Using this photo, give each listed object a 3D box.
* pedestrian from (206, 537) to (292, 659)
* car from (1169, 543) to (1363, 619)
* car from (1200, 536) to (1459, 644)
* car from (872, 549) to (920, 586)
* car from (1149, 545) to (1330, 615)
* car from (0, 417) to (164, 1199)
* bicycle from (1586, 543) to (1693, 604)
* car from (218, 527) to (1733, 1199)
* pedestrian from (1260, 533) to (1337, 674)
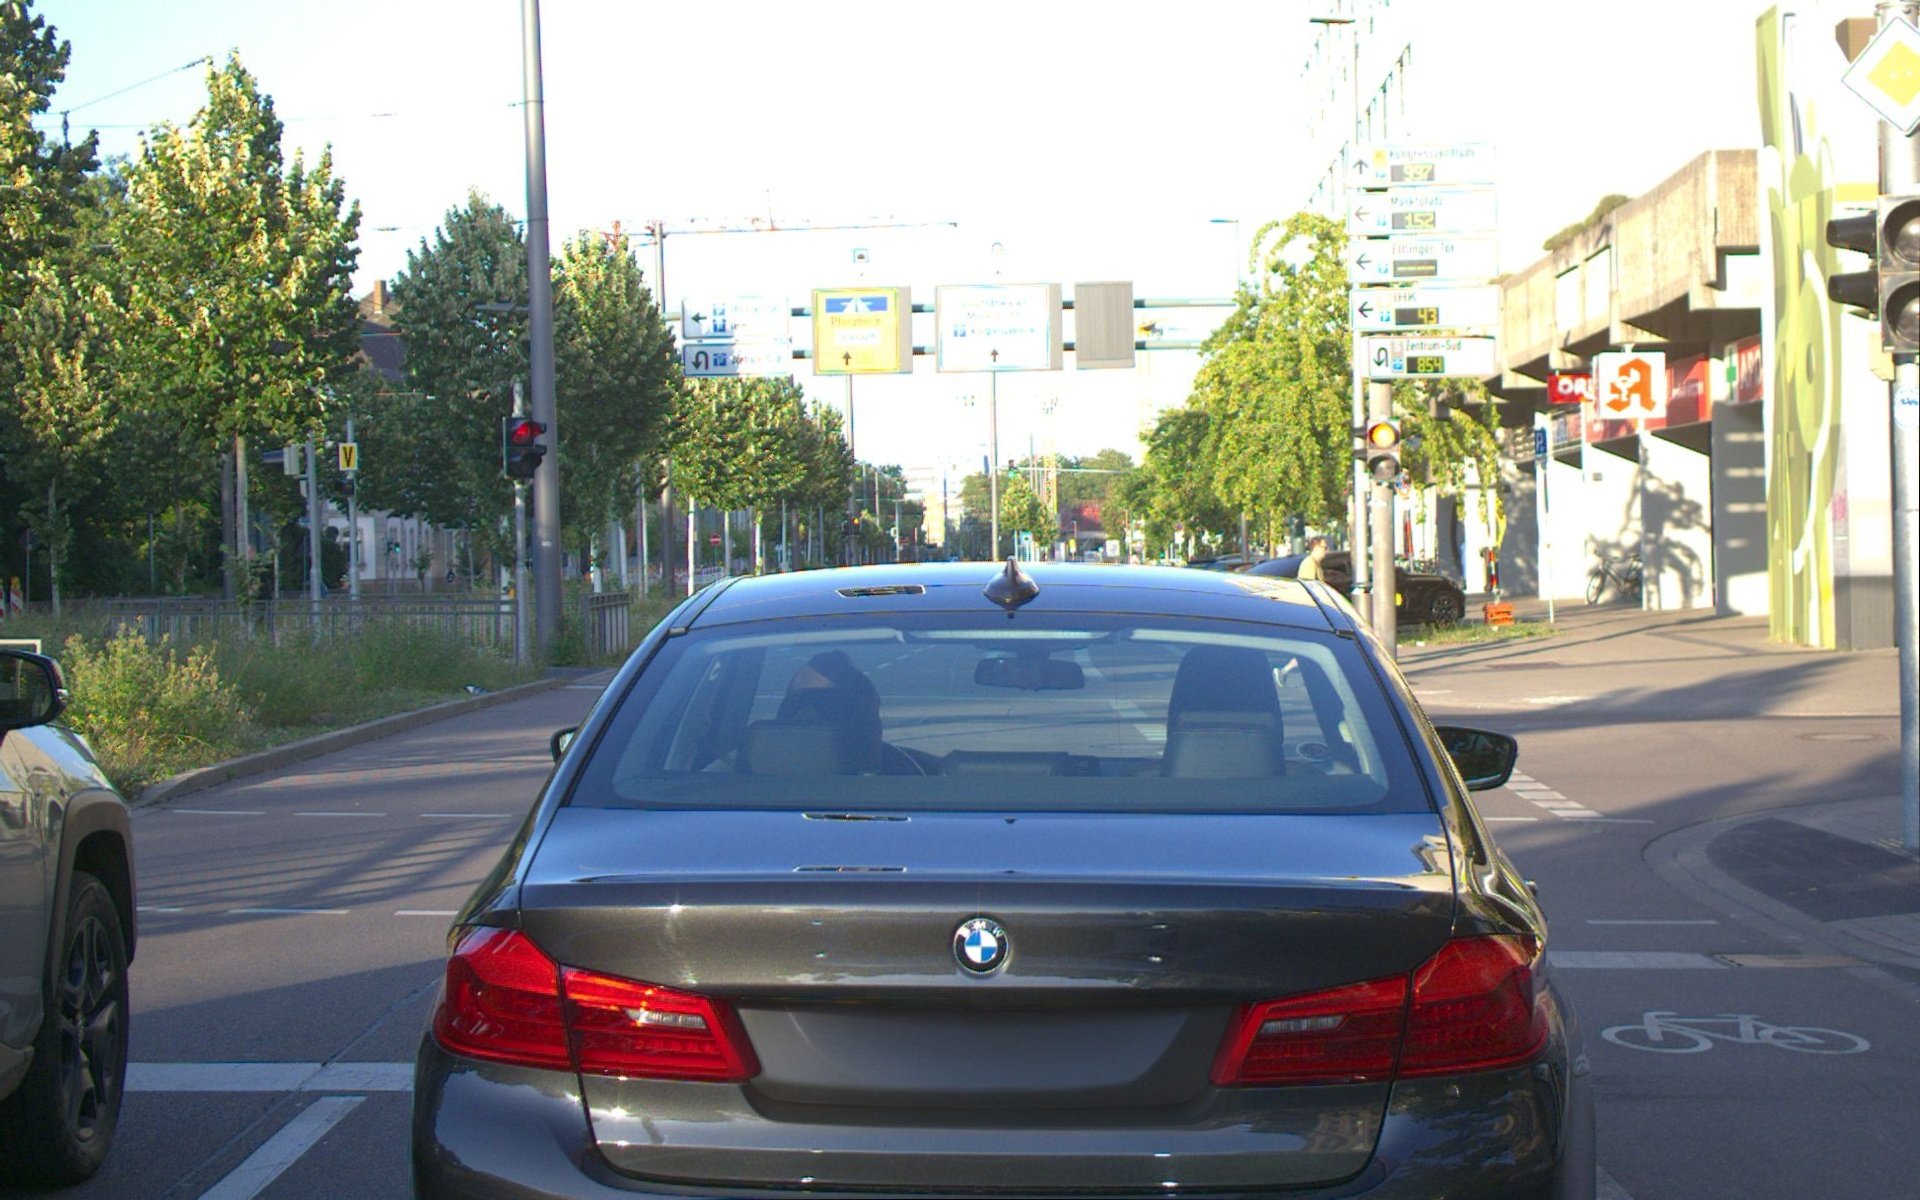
[{"bbox_3d":[-9.448,-0.032,45.677,0.835,1.581,0.811,-1,1,11],"label":"pedestrian"},{"bbox_3d":[7.052,-0.461,79.137,4.255,1.653,1.860,-1,2,-35],"label":"car"},{"bbox_3d":[6.104,-0.203,56.507,4.256,1.653,1.860,-2,3,-42],"label":"car"},{"bbox_3d":[-2.727,-1.395,146.952,1.979,1.428,4.843,0,2,0],"label":"car"},{"bbox_3d":[6.928,-0.515,85.158,4.255,1.653,1.860,-1,2,-35],"label":"car"},{"bbox_3d":[-2.879,0.472,6.421,1.854,1.653,4.269,0,2,-1],"label":"car"},{"bbox_3d":[13.627,-0.525,68.971,2.017,1.145,0.690,2,0,7],"label":"bicycle"},{"bbox_3d":[0.044,0.629,6.666,1.932,1.476,4.523,0,2,1],"label":"car"},{"bbox_3d":[4.159,0.040,42.316,0.835,1.706,0.648,-1,1,-1],"label":"pedestrian"}]
